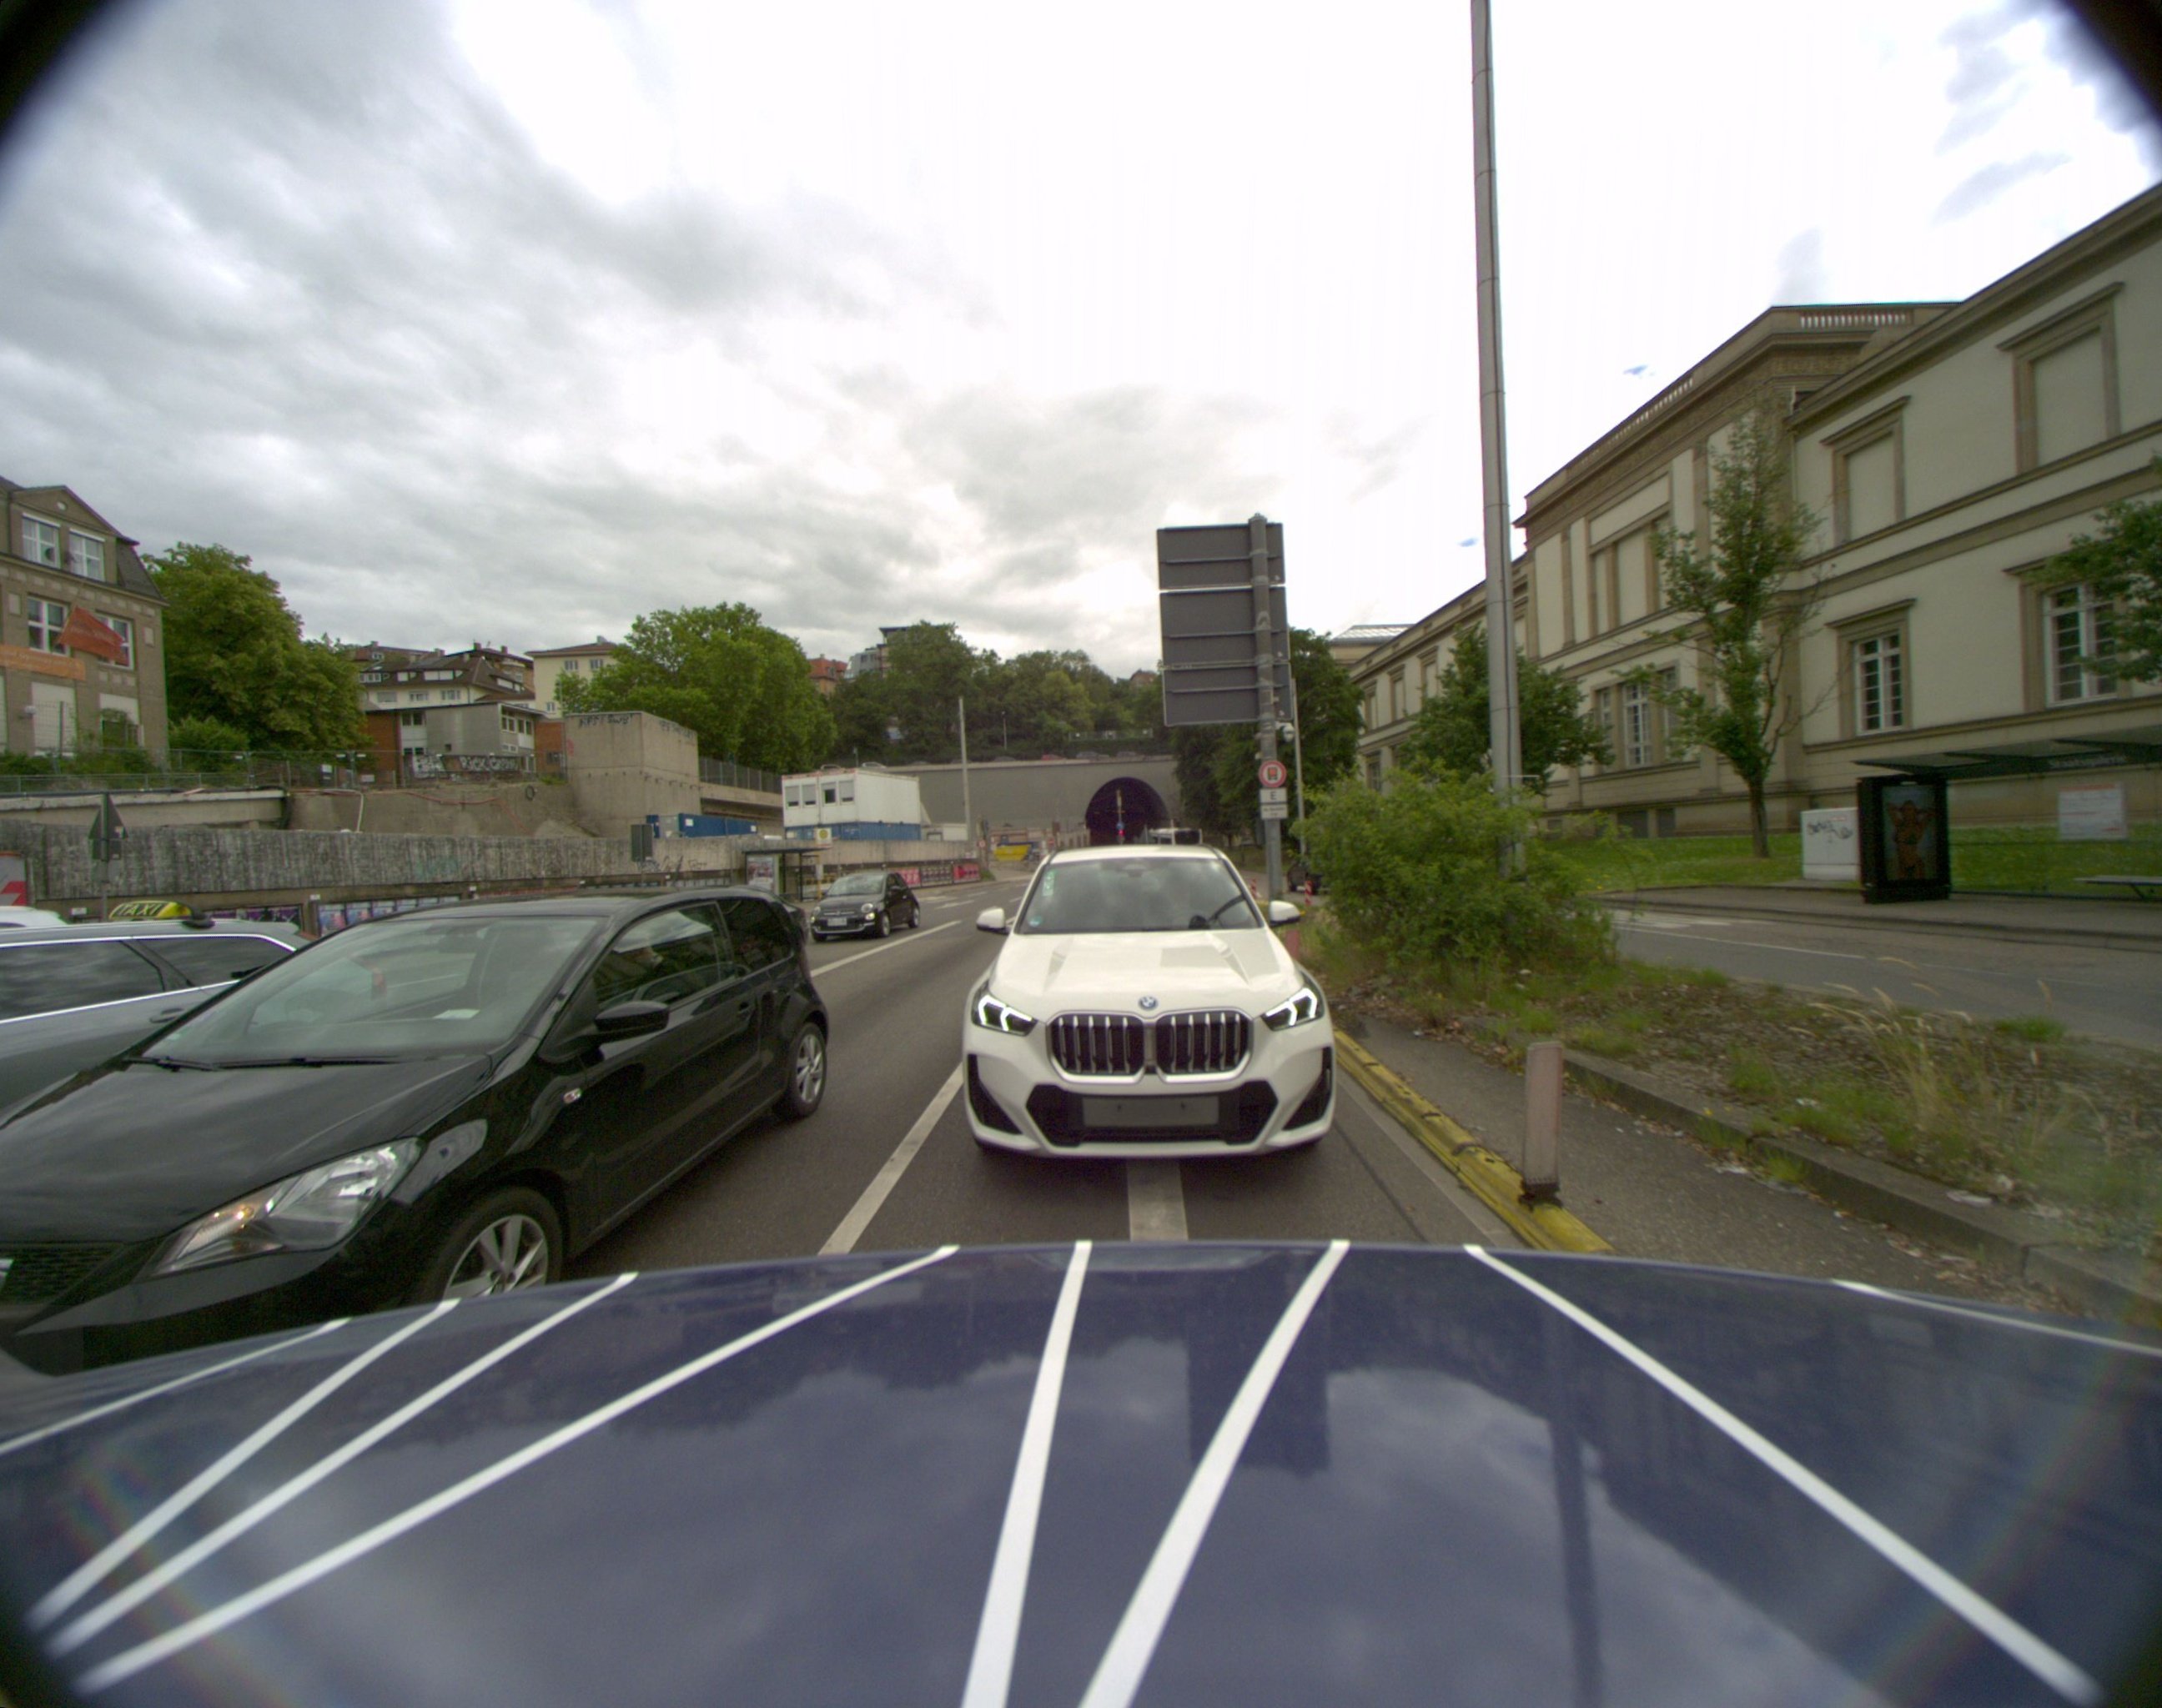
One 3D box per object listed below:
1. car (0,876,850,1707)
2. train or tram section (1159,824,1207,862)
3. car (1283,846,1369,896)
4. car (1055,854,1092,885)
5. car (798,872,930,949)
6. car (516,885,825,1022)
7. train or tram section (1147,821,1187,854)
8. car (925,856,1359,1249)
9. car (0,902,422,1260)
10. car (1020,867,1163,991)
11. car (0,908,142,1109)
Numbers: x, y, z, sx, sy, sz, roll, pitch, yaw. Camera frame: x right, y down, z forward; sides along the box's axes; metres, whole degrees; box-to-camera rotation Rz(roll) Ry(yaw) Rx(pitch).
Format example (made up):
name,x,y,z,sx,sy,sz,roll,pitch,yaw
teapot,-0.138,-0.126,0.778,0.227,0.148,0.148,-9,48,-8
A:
name,x,y,z,sx,sy,sz,roll,pitch,yaw
car,-2.532,0.977,3.283,1.661,1.547,3.911,-2,1,3
train or tram section,8.887,-0.913,67.454,2.701,3.053,9.334,-1,0,-2
car,8.928,0.563,28.035,1.884,1.616,4.371,-2,1,2
car,-0.377,0.841,43.606,1.948,1.565,3.999,-2,1,1
car,-4.939,1.229,17.851,1.720,1.450,3.782,-3,0,4
car,-5.401,1.223,10.769,1.826,1.356,4.219,-2,0,4
train or tram section,8.602,-1.588,76.781,2.701,3.053,9.375,-1,0,-2
car,0.337,0.847,5.131,1.756,1.547,3.911,-2,1,3
car,-5.827,1.141,3.463,1.826,1.457,4.217,-2,1,2
car,0.219,0.988,11.606,1.756,1.427,3.911,-2,0,3
car,-9.153,1.256,4.588,1.826,1.457,4.073,-2,1,0
